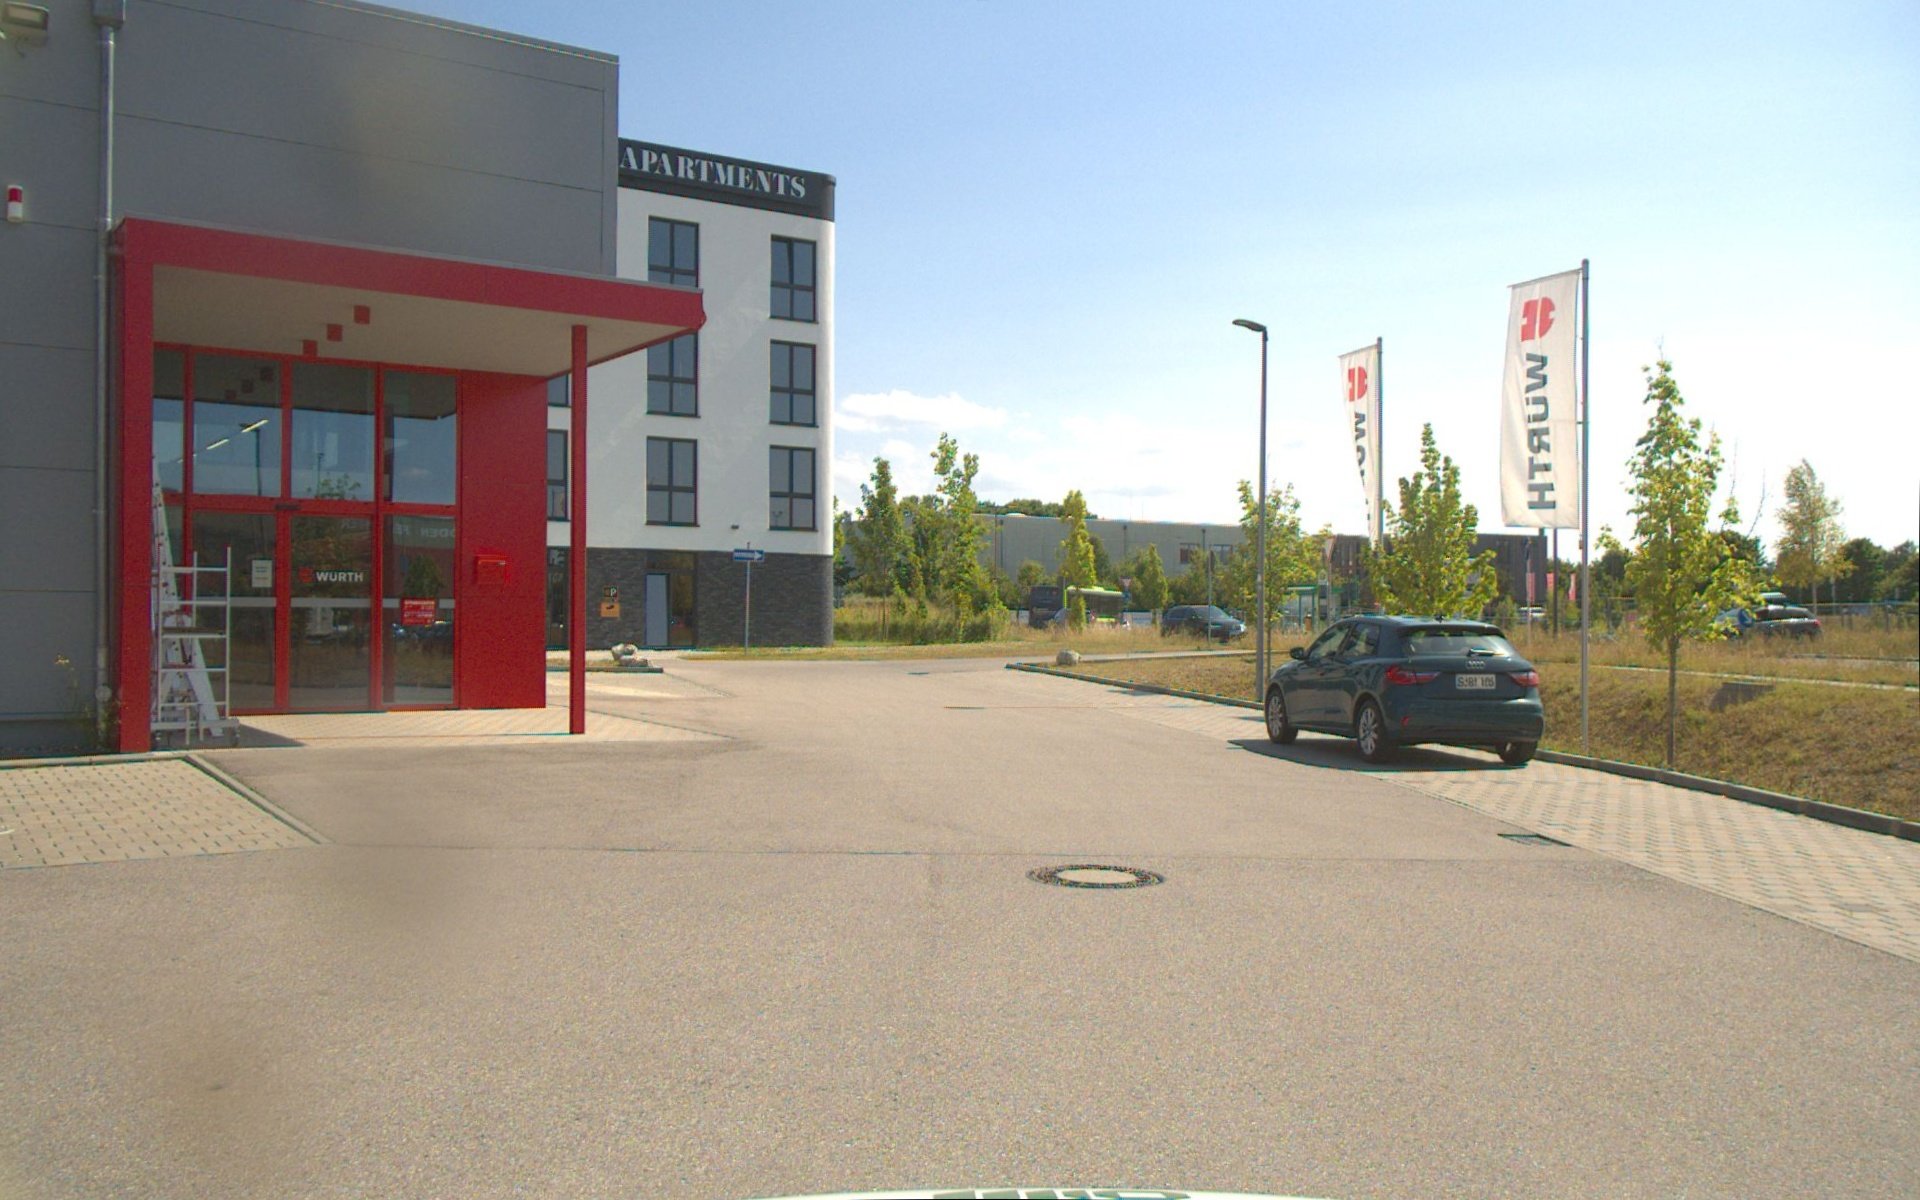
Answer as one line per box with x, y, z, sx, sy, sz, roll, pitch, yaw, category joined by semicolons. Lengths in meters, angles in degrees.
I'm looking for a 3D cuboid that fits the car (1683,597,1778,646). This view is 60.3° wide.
25.456;0.713;54.581;1.961;1.543;4.178;1;0;38;car

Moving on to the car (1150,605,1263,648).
9.632;1.015;64.942;1.919;1.578;4.715;1;0;-29;car

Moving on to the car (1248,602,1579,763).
4.617;0.767;17.540;1.806;1.475;4.218;0;0;-9;car

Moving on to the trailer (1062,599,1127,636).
7.104;0.893;87.463;1.797;1.892;3.972;1;0;-23;trailer

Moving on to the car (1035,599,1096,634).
5.780;0.886;91.095;1.797;1.892;3.972;1;0;-23;car

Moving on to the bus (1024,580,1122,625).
7.575;0.130;108.947;2.520;2.783;11.562;0;0;24;bus
